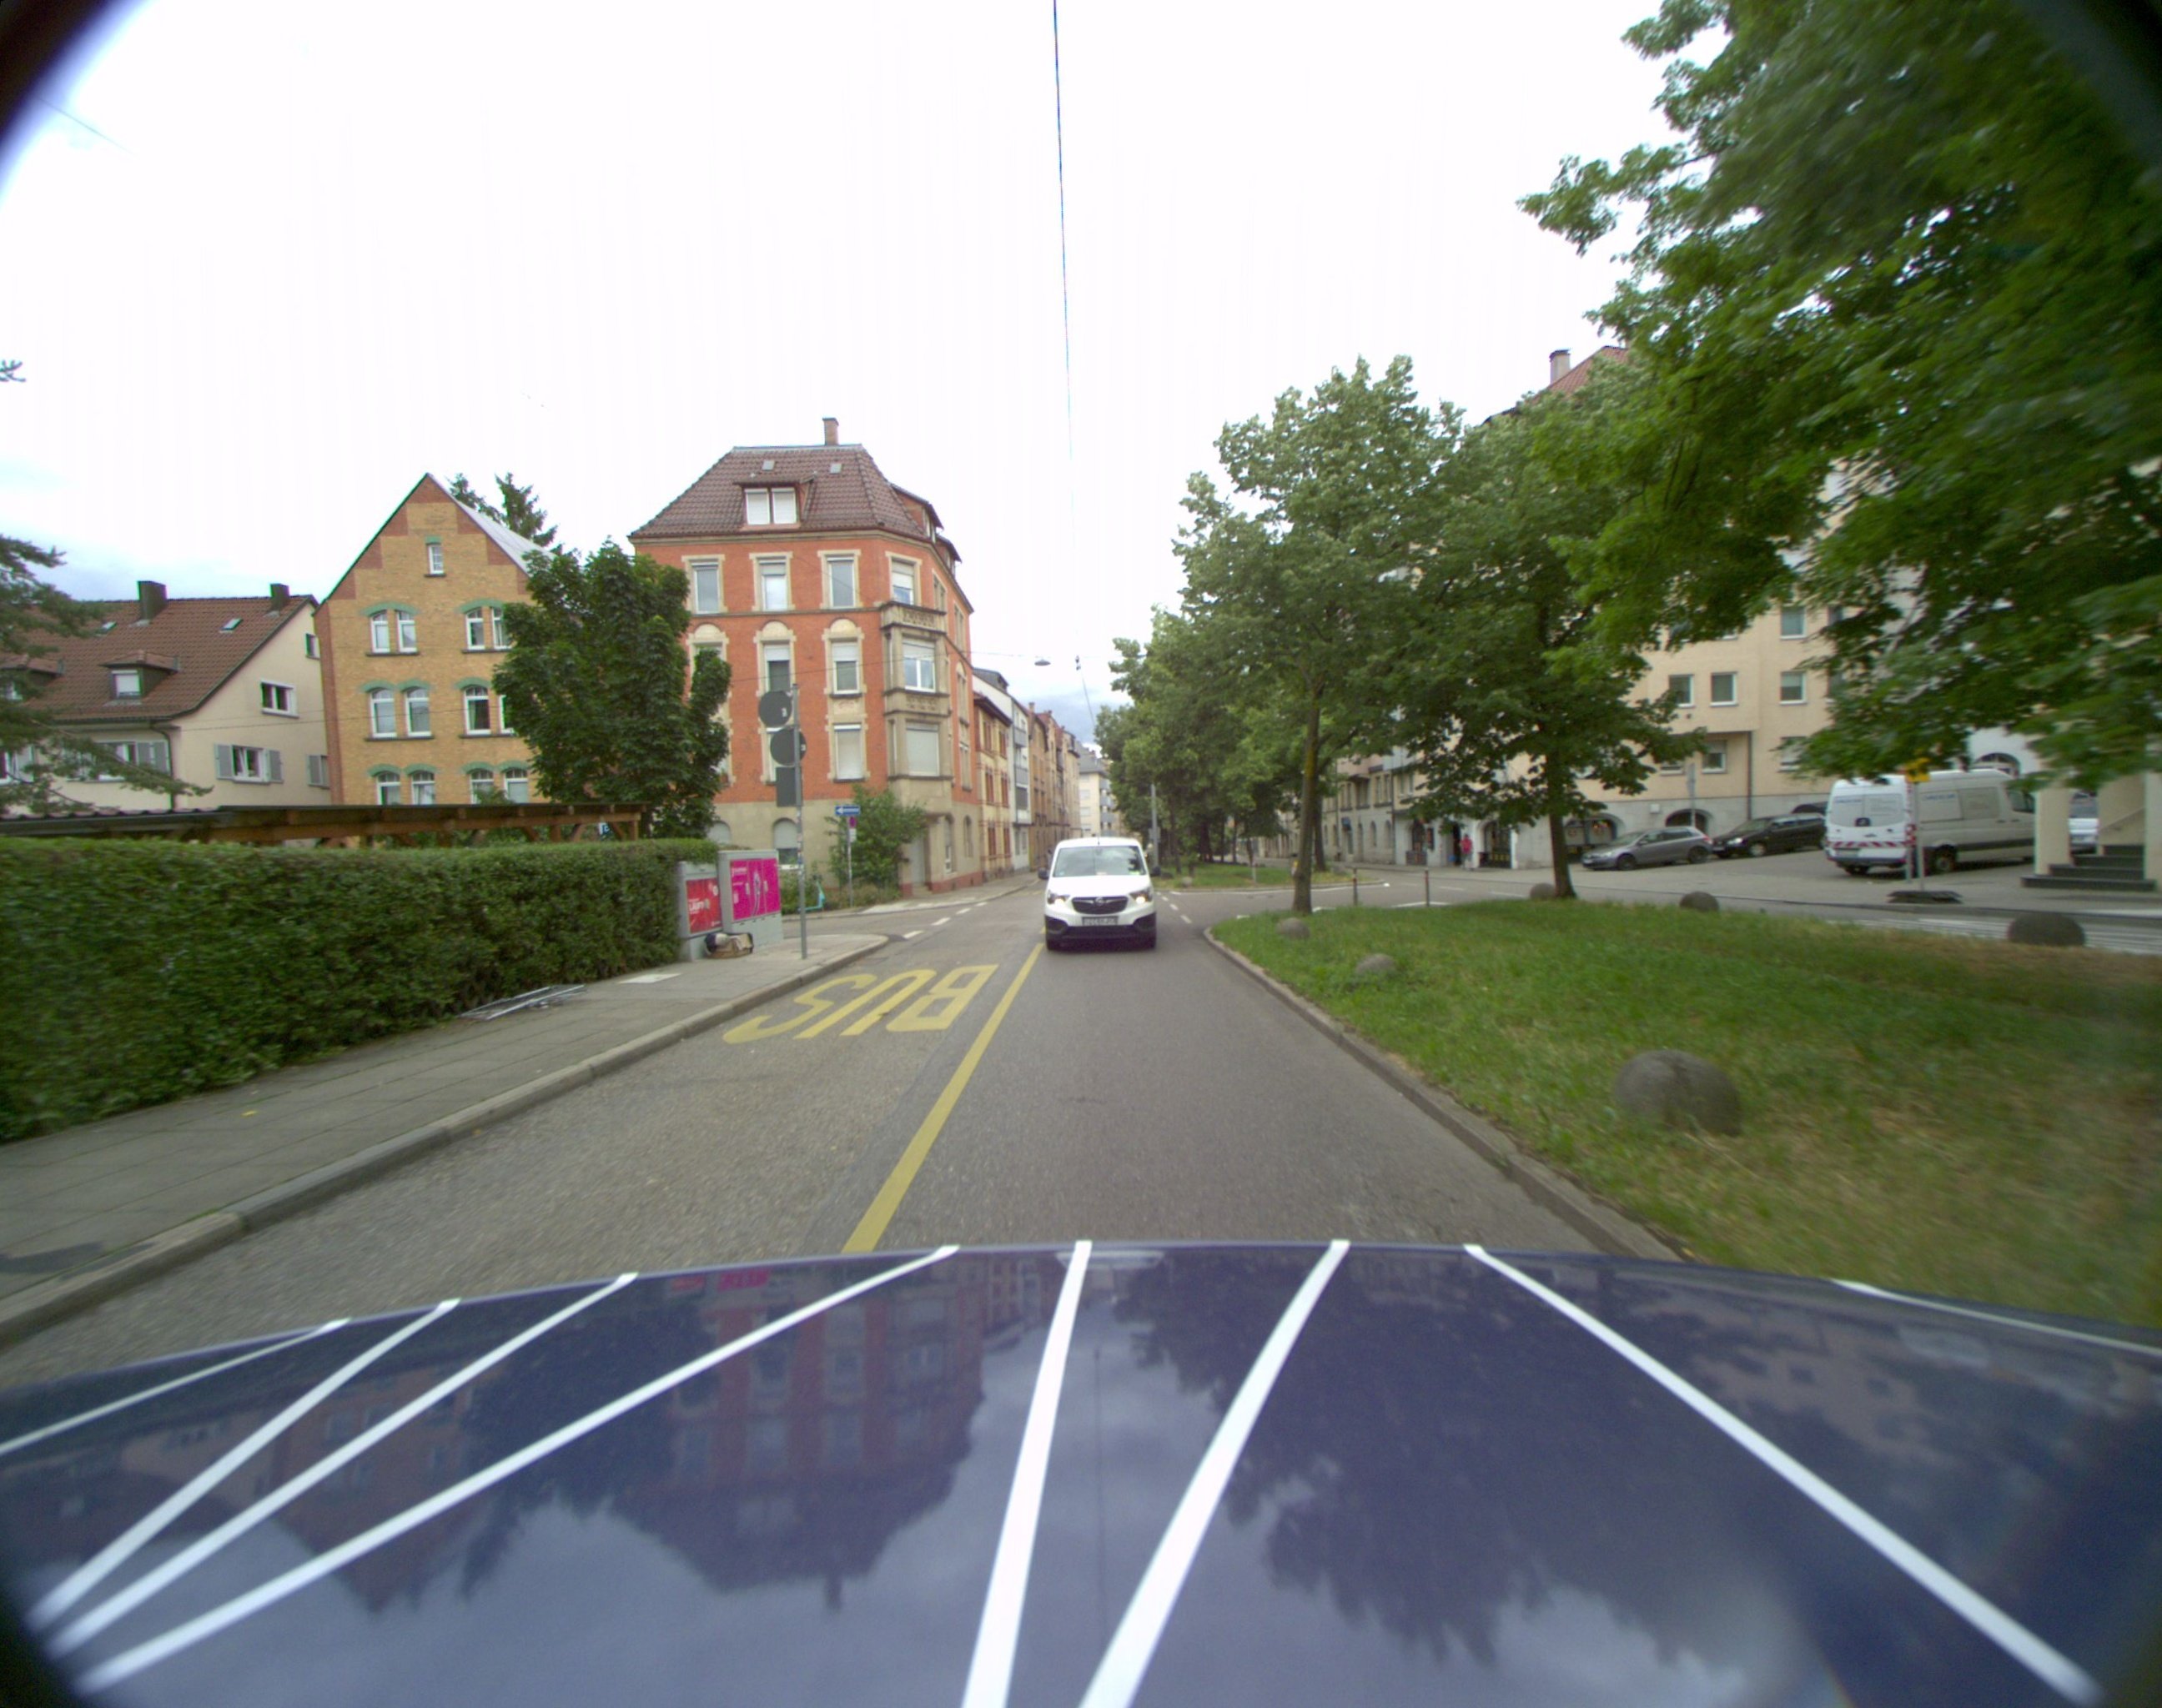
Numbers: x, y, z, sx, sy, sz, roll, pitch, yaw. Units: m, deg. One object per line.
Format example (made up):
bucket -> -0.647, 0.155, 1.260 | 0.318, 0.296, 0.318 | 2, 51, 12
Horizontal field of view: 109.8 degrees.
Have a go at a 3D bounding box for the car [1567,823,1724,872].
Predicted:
car -> 21.315, -0.218, 28.866 | 4.298, 1.411, 2.048 | -5, -1, 4

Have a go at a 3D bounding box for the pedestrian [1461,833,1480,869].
pedestrian -> 18.202, -0.144, 35.519 | 0.533, 1.656, 0.701 | -2, 0, 4

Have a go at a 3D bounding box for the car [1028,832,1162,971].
car -> 0.411, 0.635, 12.458 | 1.745, 1.830, 4.344 | -2, 0, 6

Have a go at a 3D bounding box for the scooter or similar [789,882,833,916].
scooter or similar -> -8.859, 1.468, 24.939 | 1.237, 1.010, 0.415 | -4, 1, 1

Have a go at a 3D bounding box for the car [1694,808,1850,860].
car -> 25.980, -0.722, 28.675 | 3.998, 1.412, 2.000 | -7, 0, -2

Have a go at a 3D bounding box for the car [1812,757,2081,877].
car -> 22.558, -0.946, 19.895 | 5.189, 2.720, 2.175 | -3, 0, -10

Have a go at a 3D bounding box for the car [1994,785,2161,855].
car -> 28.065, -0.951, 20.663 | 4.772, 1.627, 1.998 | -4, 0, -10
